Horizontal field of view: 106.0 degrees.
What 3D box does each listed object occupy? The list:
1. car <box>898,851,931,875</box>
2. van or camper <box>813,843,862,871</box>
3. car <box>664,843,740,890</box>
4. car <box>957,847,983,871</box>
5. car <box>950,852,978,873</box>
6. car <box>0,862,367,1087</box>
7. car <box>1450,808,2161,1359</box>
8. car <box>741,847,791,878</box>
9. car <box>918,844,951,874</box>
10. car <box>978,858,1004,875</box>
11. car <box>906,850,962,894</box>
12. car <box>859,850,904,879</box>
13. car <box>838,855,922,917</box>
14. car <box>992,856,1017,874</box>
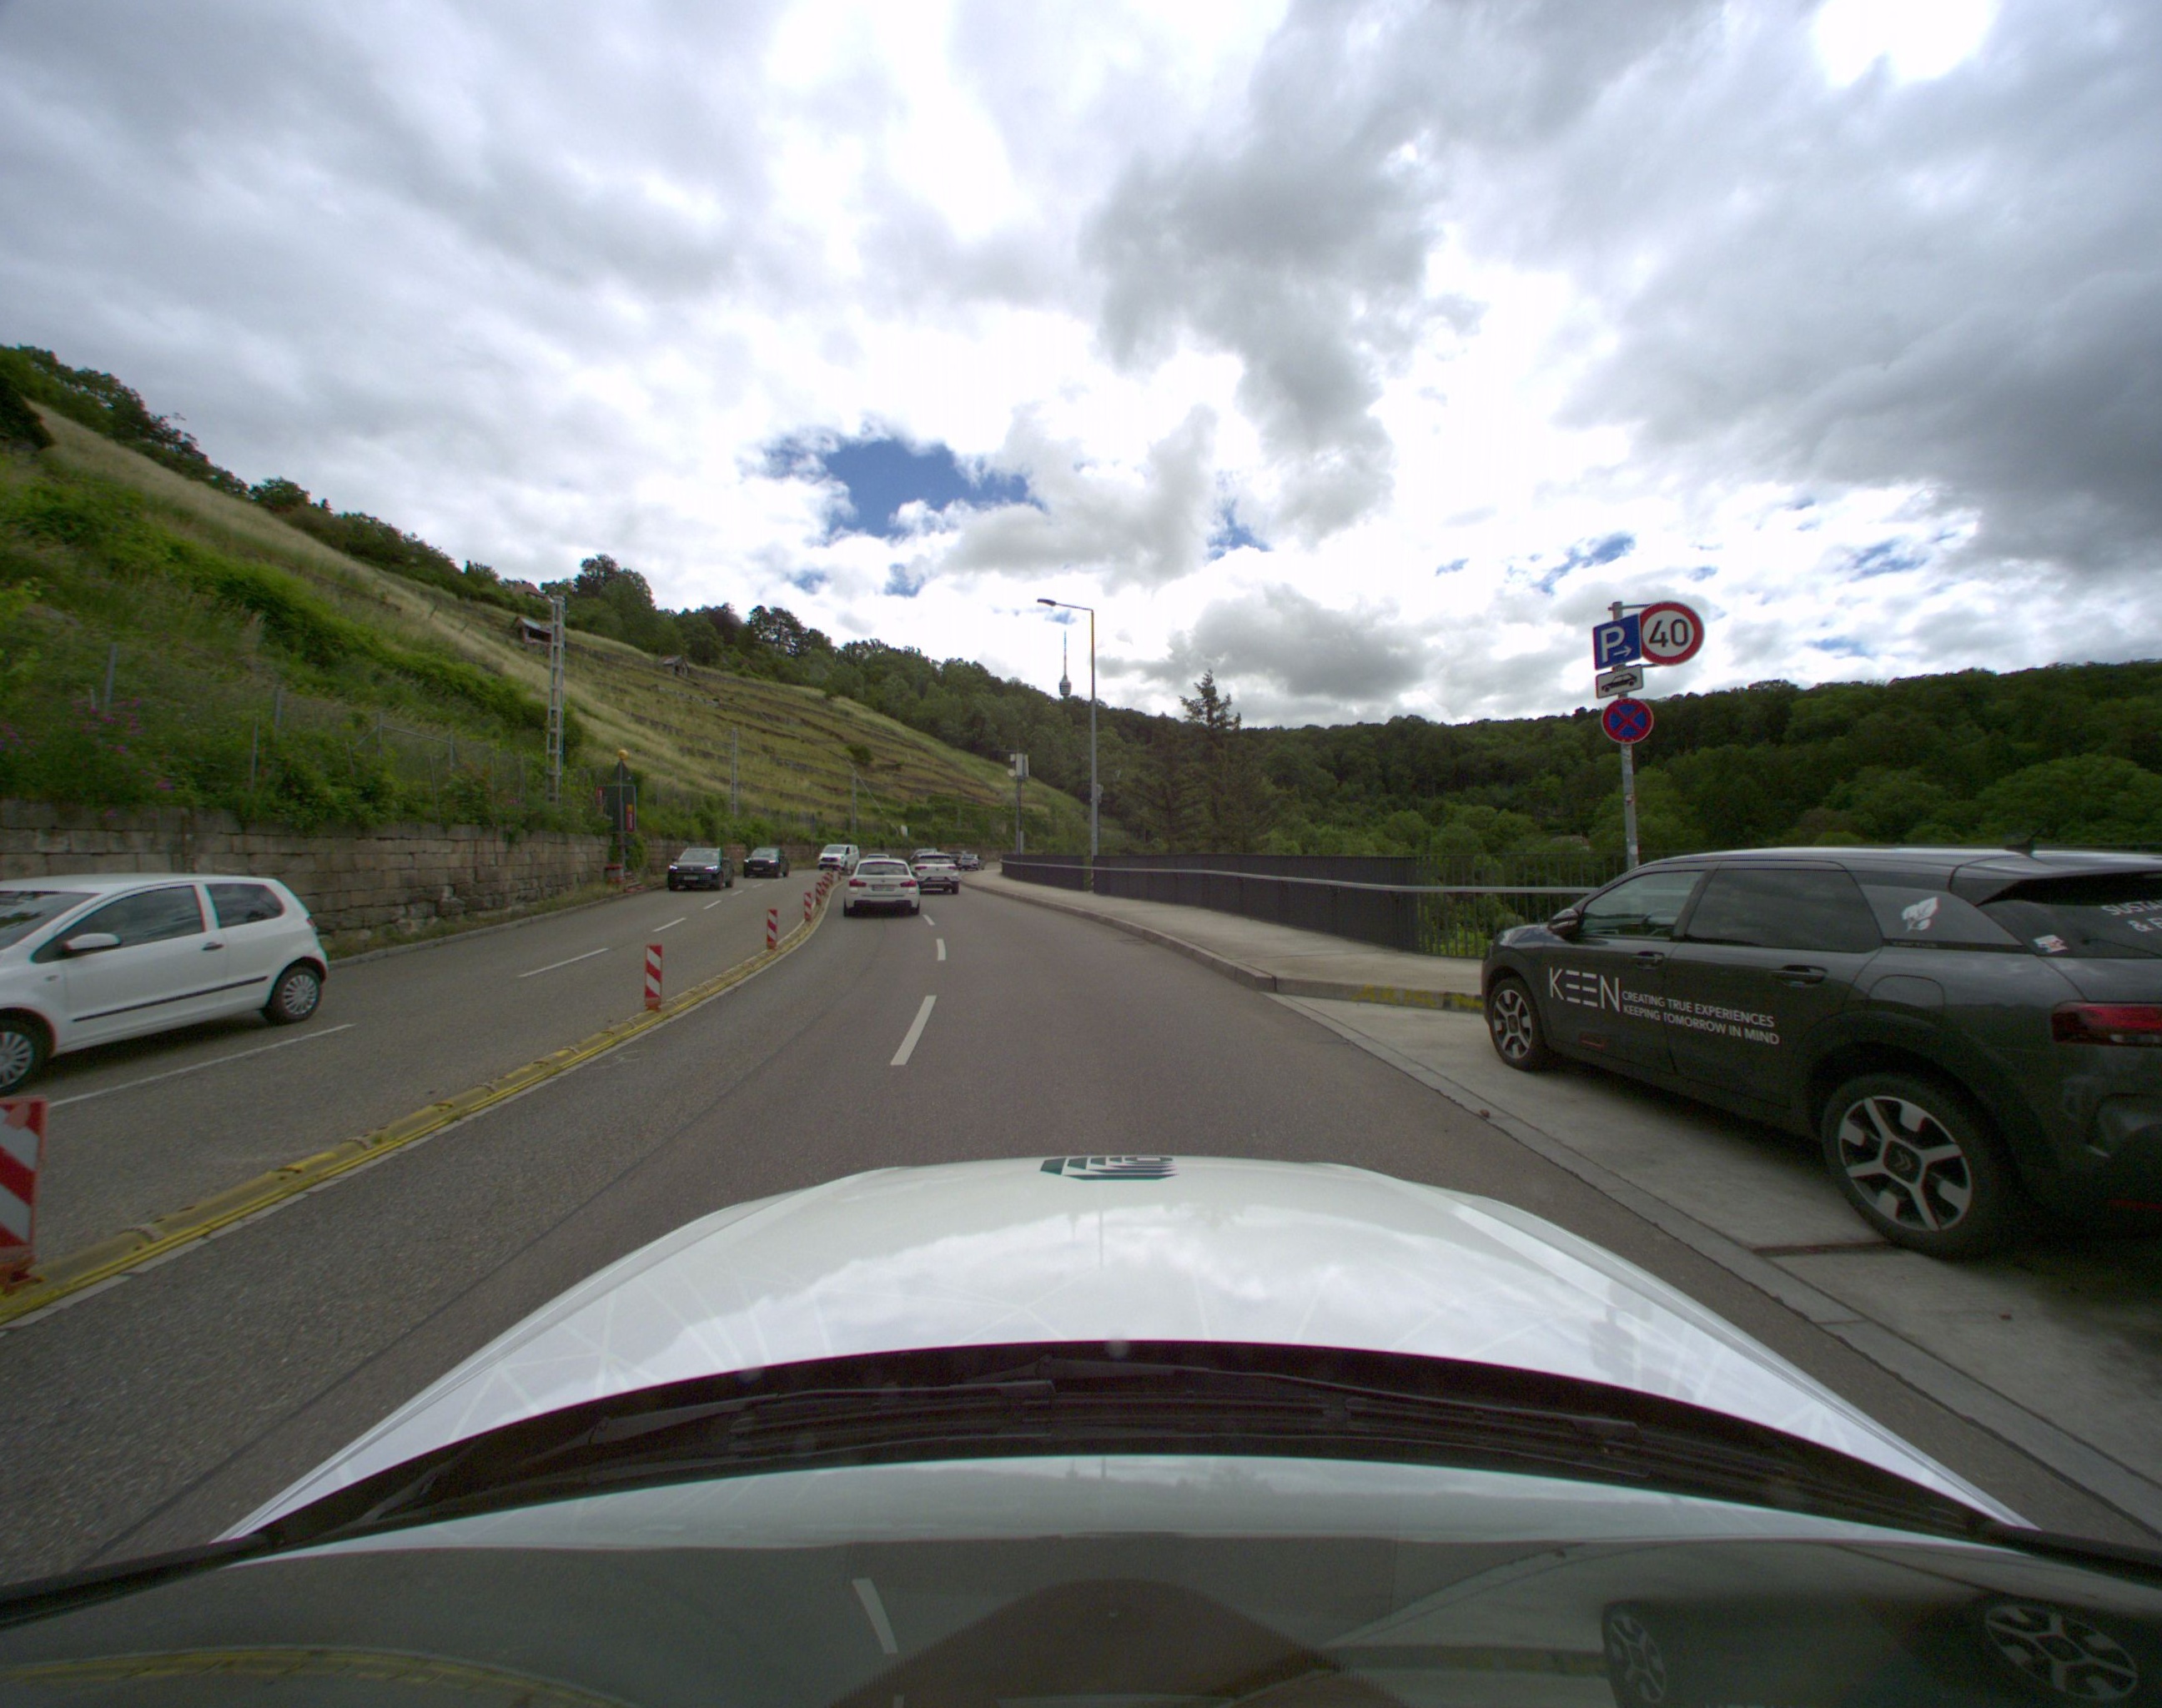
[{"bbox_3d":[-13.688,0.764,67.211,1.990,1.648,3.994,-4,-2,-4],"label":"car"},{"bbox_3d":[-18.630,0.252,62.553,2.139,2.016,4.965,0,-1,2],"label":"van or camper"},{"bbox_3d":[-14.889,0.481,32.223,1.845,1.726,4.443,0,0,-13],"label":"car"},{"bbox_3d":[-9.724,0.463,71.315,1.990,2.014,3.992,-2,-1,-5],"label":"car"},{"bbox_3d":[-11.326,0.860,78.831,1.861,1.762,4.003,-1,-3,4],"label":"car"},{"bbox_3d":[-8.595,0.879,6.982,1.699,1.548,3.991,-1,0,-6],"label":"car"},{"bbox_3d":[3.855,0.645,4.358,1.869,1.543,4.088,-1,0,-1],"label":"car"},{"bbox_3d":[-17.469,0.453,45.300,1.865,1.624,4.331,1,0,-11],"label":"car"},{"bbox_3d":[-9.723,0.383,54.186,1.994,1.718,4.099,-4,-2,-10],"label":"car"},{"bbox_3d":[-10.494,1.502,95.157,1.857,1.762,4.011,-2,-4,11],"label":"car"},{"bbox_3d":[-5.858,0.702,32.079,1.831,1.606,3.979,1,-1,-15],"label":"car"},{"bbox_3d":[-11.603,0.624,47.667,1.992,1.503,4.654,-3,-1,-8],"label":"car"},{"bbox_3d":[-5.449,0.768,21.738,1.833,1.459,4.458,1,0,-18],"label":"car"},{"bbox_3d":[-8.290,1.187,88.181,1.860,1.762,4.006,-1,-4,6],"label":"car"}]
